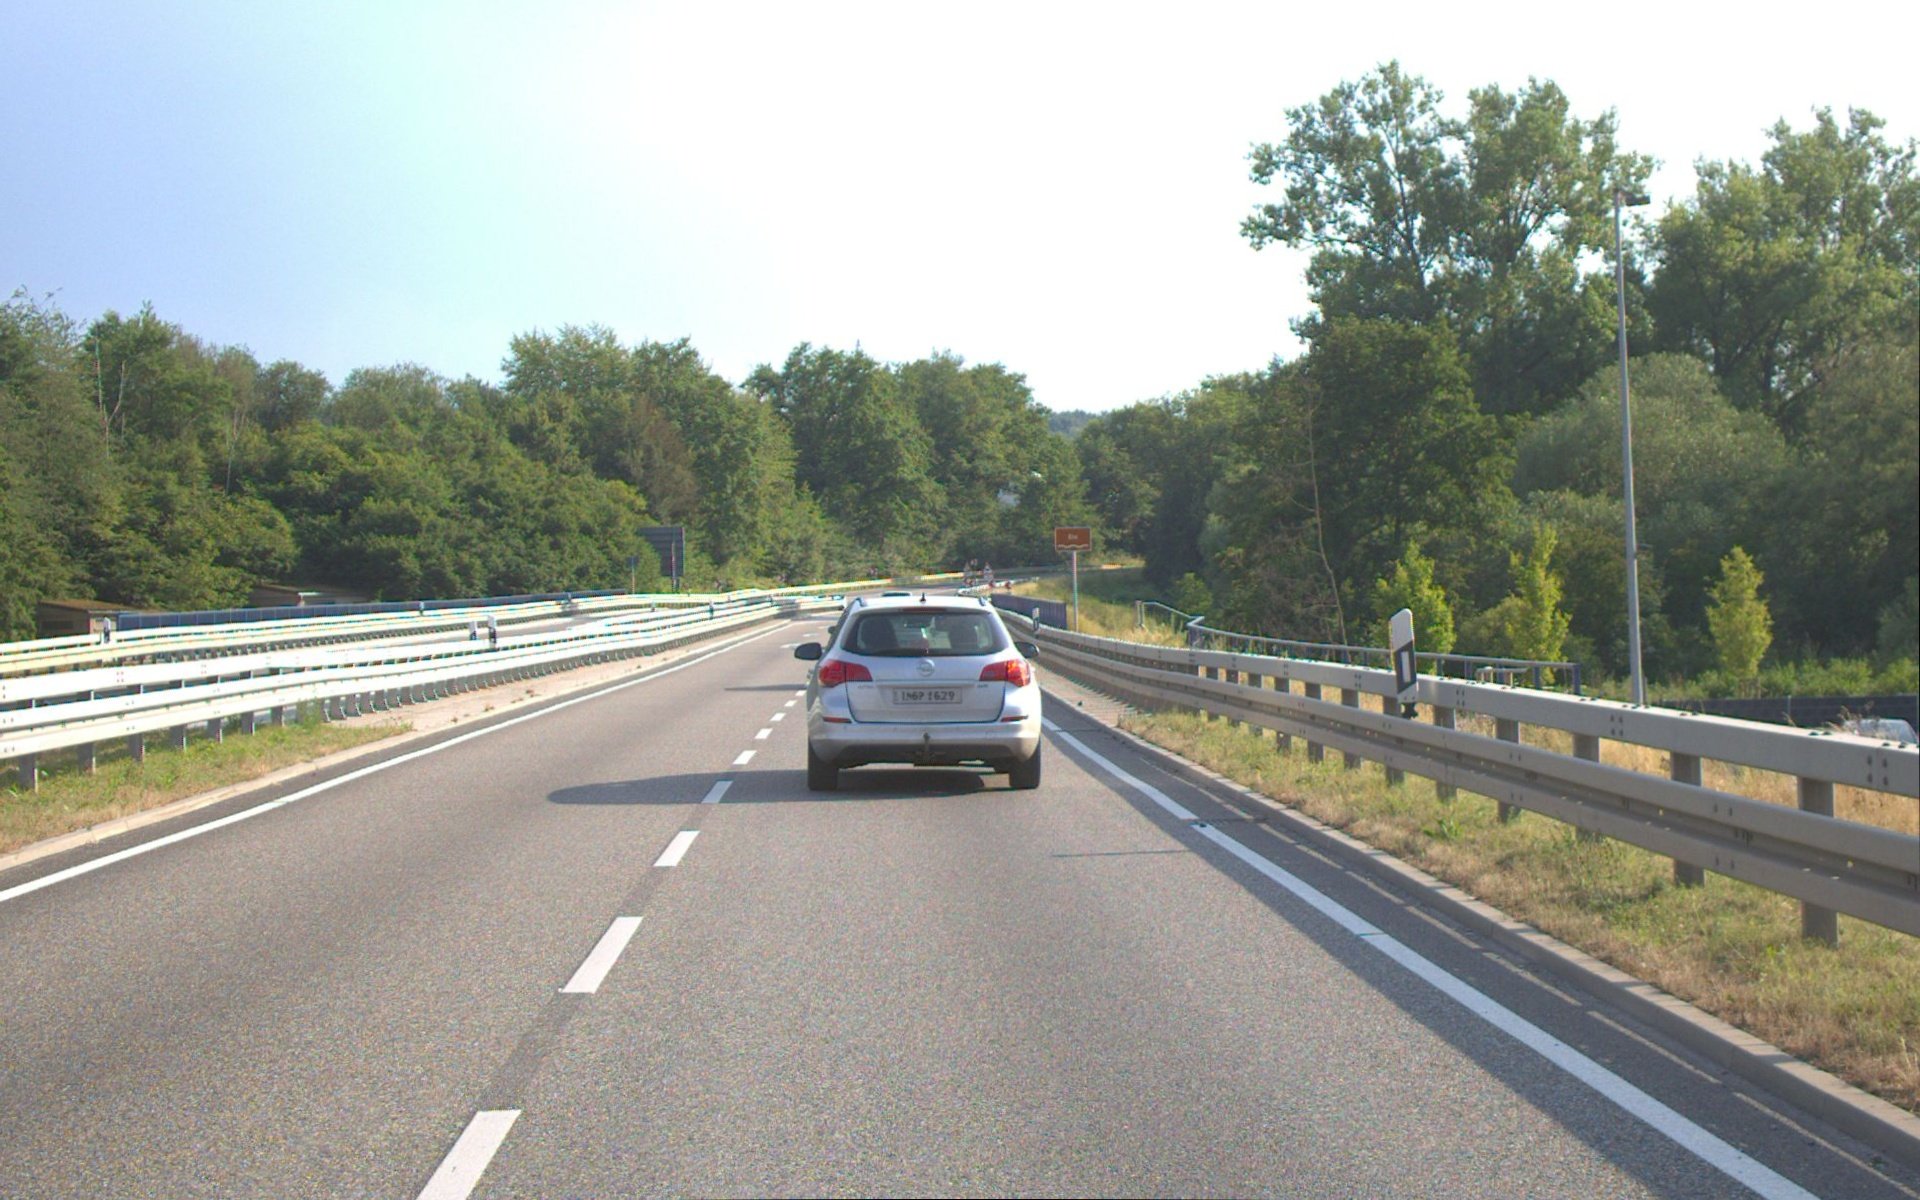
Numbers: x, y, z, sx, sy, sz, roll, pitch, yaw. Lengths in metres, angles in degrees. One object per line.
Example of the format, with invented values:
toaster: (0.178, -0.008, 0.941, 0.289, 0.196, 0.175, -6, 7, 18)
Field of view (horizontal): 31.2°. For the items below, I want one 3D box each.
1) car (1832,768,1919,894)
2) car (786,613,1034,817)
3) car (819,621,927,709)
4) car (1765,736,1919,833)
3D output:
car: (14.438, 3.426, 51.378, 1.775, 1.678, 4.000, 1, -1, 0)
car: (-0.414, 0.880, 27.215, 1.809, 1.481, 4.000, 1, -1, -1)
car: (-1.523, 1.138, 60.208, 1.809, 1.481, 4.000, 1, -1, -1)
car: (14.690, 3.045, 57.250, 1.706, 1.459, 4.000, 0, -1, 1)
